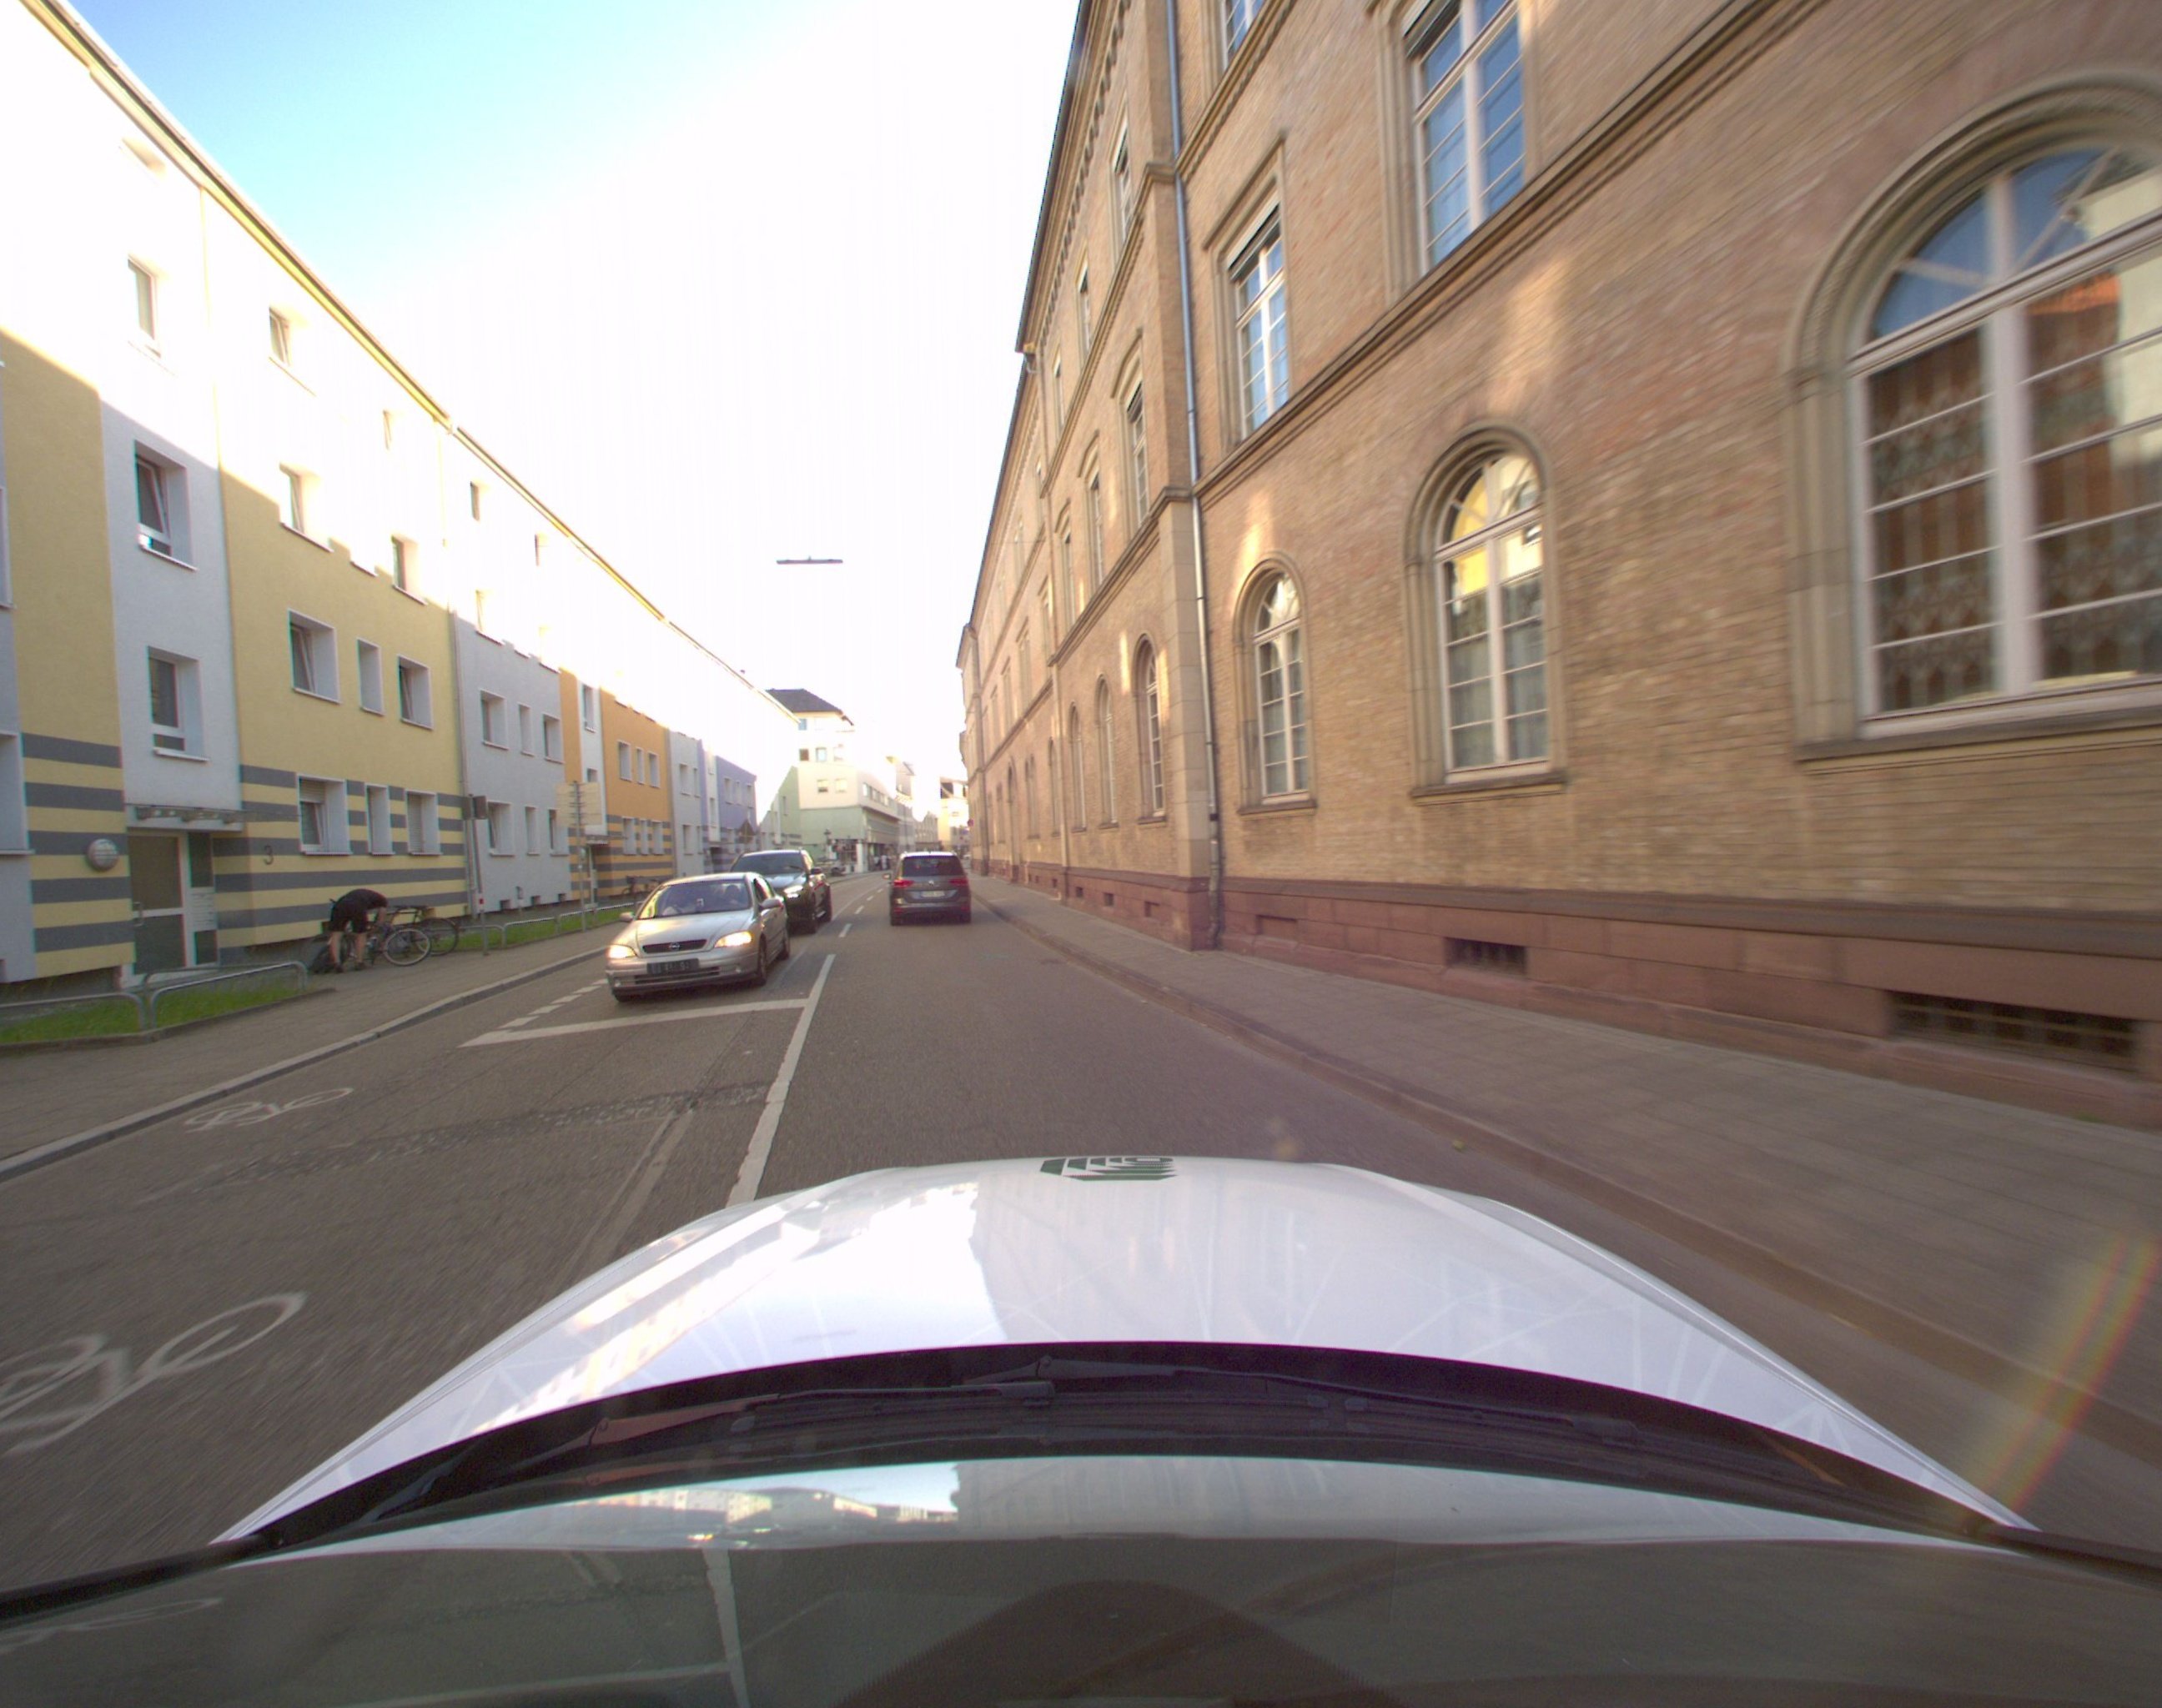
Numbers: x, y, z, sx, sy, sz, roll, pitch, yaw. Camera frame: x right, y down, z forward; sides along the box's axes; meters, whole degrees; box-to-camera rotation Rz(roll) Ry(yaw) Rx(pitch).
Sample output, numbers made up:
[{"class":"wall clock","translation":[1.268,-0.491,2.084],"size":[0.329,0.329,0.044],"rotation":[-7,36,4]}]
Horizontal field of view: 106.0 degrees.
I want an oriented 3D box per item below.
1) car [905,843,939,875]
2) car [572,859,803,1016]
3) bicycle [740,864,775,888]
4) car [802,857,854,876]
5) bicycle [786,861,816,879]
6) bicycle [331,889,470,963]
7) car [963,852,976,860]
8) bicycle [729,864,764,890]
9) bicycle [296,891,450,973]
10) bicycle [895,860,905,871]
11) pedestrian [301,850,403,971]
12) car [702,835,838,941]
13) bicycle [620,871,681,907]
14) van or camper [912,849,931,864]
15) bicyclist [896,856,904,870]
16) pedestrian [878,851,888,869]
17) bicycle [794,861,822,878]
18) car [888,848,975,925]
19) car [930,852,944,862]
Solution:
[{"class":"car","translation":[-10.326,0.292,53.026],"size":[1.994,1.881,3.985],"rotation":[-3,1,-11]},{"class":"car","translation":[-4.948,0.907,10.886],"size":[1.743,1.485,4.119],"rotation":[-5,1,-12]},{"class":"bicycle","translation":[-17.632,1.196,44.412],"size":[1.640,1.241,0.465],"rotation":[-3,0,-12]},{"class":"car","translation":[-23.032,1.138,74.253],"size":[4.096,1.442,1.942],"rotation":[-4,1,-8]},{"class":"bicycle","translation":[-19.687,1.125,57.178],"size":[1.938,1.179,0.608],"rotation":[0,-1,-25]},{"class":"bicycle","translation":[-12.300,1.274,14.778],"size":[1.757,1.145,0.646],"rotation":[-3,1,-20]},{"class":"car","translation":[-22.694,0.301,165.575],"size":[1.725,1.467,4.006],"rotation":[-3,1,5]},{"class":"bicycle","translation":[-17.697,1.205,43.129],"size":[1.586,1.241,0.447],"rotation":[-3,0,-12]},{"class":"bicycle","translation":[-11.685,1.262,13.512],"size":[1.757,1.145,0.646],"rotation":[-3,1,-20]},{"class":"bicycle","translation":[-20.413,1.277,91.816],"size":[0.830,1.054,2.543],"rotation":[-3,1,-6]},{"class":"pedestrian","translation":[-11.738,0.882,13.137],"size":[0.715,1.854,0.872],"rotation":[-3,0,10]},{"class":"car","translation":[-6.631,0.637,17.941],"size":[1.902,1.834,5.073],"rotation":[-5,1,-12]},{"class":"bicycle","translation":[-15.105,1.219,28.612],"size":[1.757,1.145,0.646],"rotation":[-3,1,-20]},{"class":"van or camper","translation":[-23.015,0.314,117.765],"size":[1.989,2.013,4.478],"rotation":[-3,1,-3]},{"class":"bicyclist","translation":[-20.422,1.016,91.912],"size":[0.830,1.561,0.758],"rotation":[-3,1,-7]},{"class":"pedestrian","translation":[-19.981,0.621,82.220],"size":[0.551,1.829,0.733],"rotation":[-3,0,14]},{"class":"bicycle","translation":[-19.653,1.109,58.672],"size":[1.934,1.179,0.609],"rotation":[0,-1,-19]},{"class":"car","translation":[-3.604,0.677,19.147],"size":[1.765,1.607,3.980],"rotation":[0,0,-14]},{"class":"car","translation":[-23.801,0.451,134.784],"size":[1.862,1.468,3.828],"rotation":[-3,1,-4]}]
